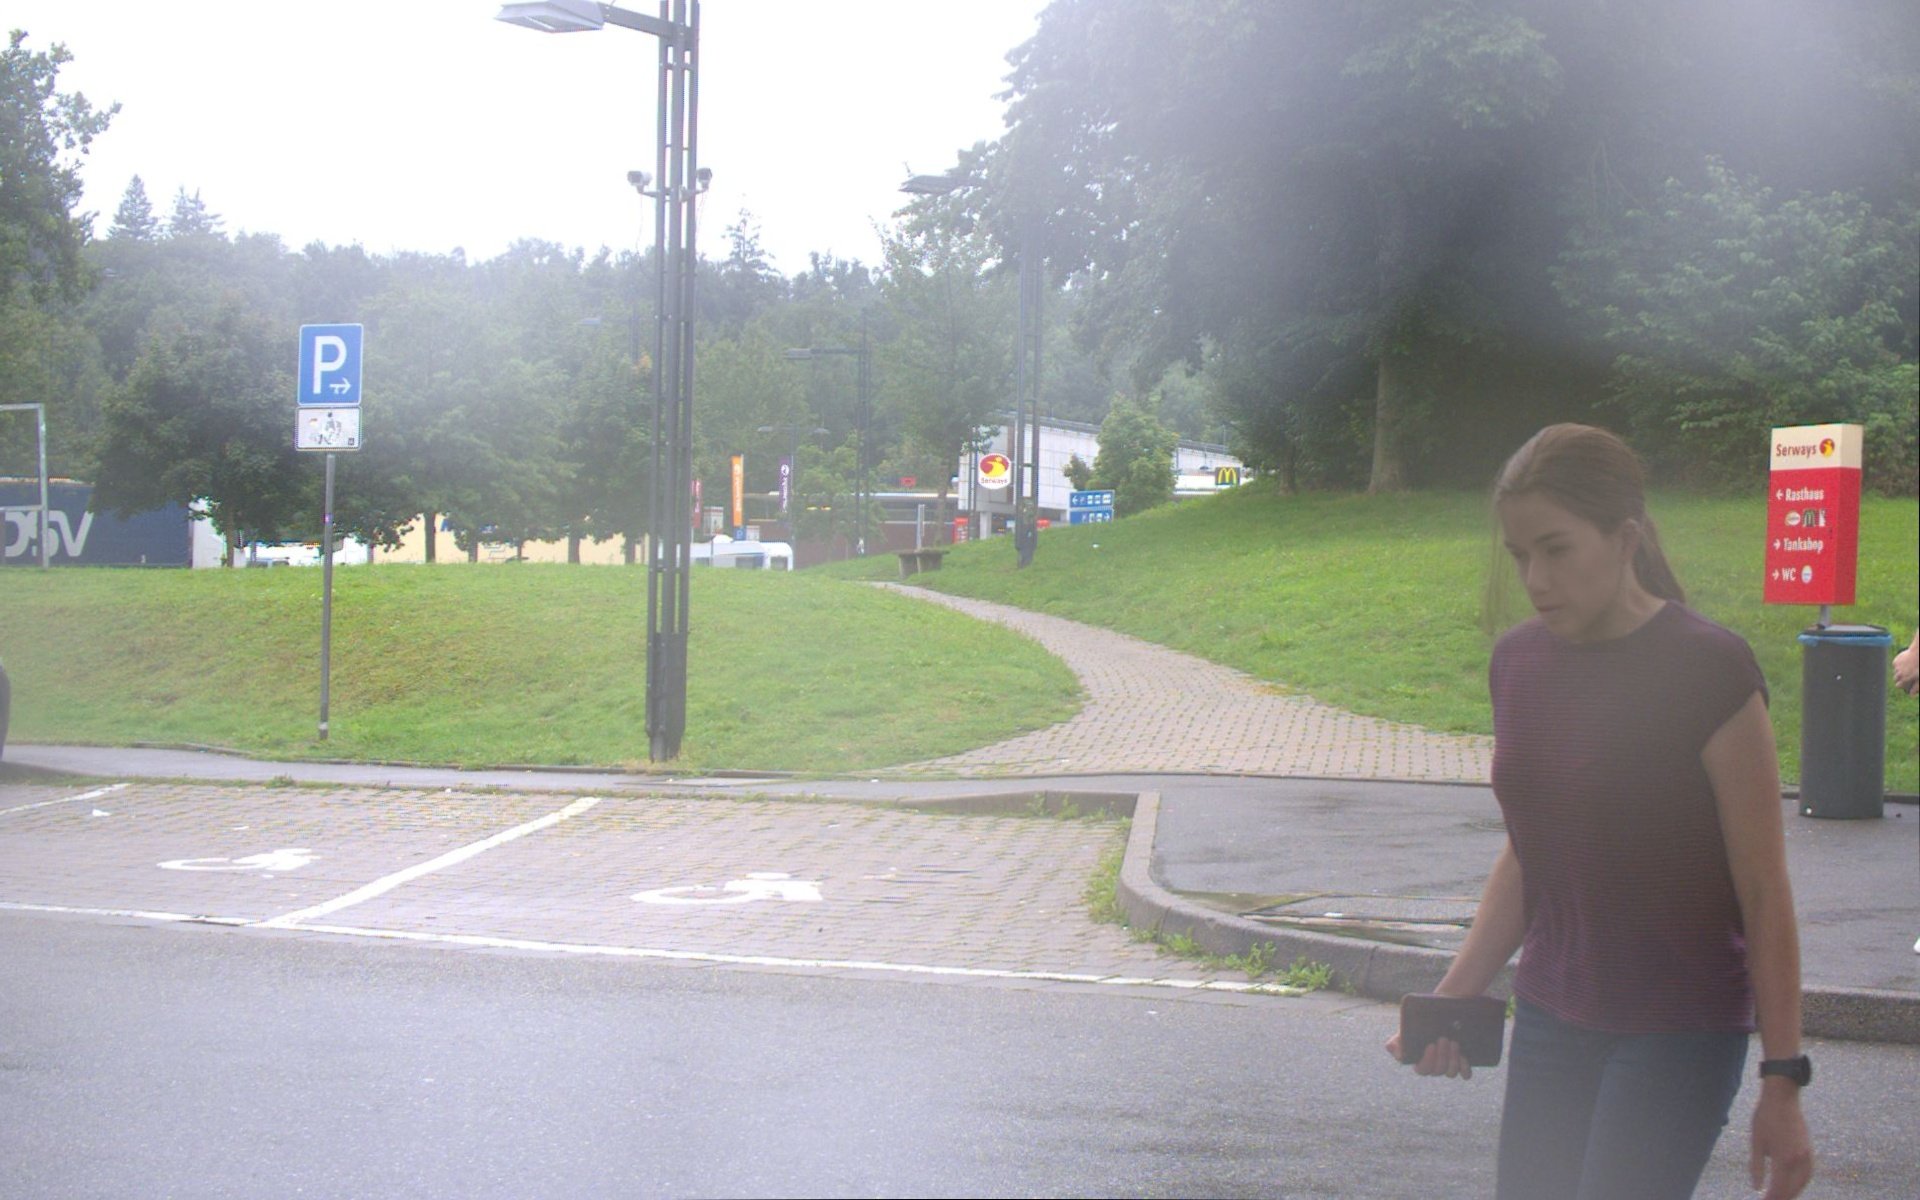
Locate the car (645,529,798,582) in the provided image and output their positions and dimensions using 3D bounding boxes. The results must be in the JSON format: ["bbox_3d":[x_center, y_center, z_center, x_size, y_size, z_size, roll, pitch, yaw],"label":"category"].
[{"bbox_3d":[-9.271,-1.737,133.765,5.429,2.007,2.453,1,1,20],"label":"car"}]

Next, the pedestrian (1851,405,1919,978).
[{"bbox_3d":[3.505,0.289,11.259,0.974,1.842,0.772,0,1,28],"label":"pedestrian"}]

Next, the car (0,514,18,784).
[{"bbox_3d":[-7.771,0.371,21.438,1.885,1.821,4.411,0,1,11],"label":"car"}]

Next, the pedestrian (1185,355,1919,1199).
[{"bbox_3d":[0.852,0.580,4.465,0.796,1.728,0.838,0,1,35],"label":"pedestrian"}]
